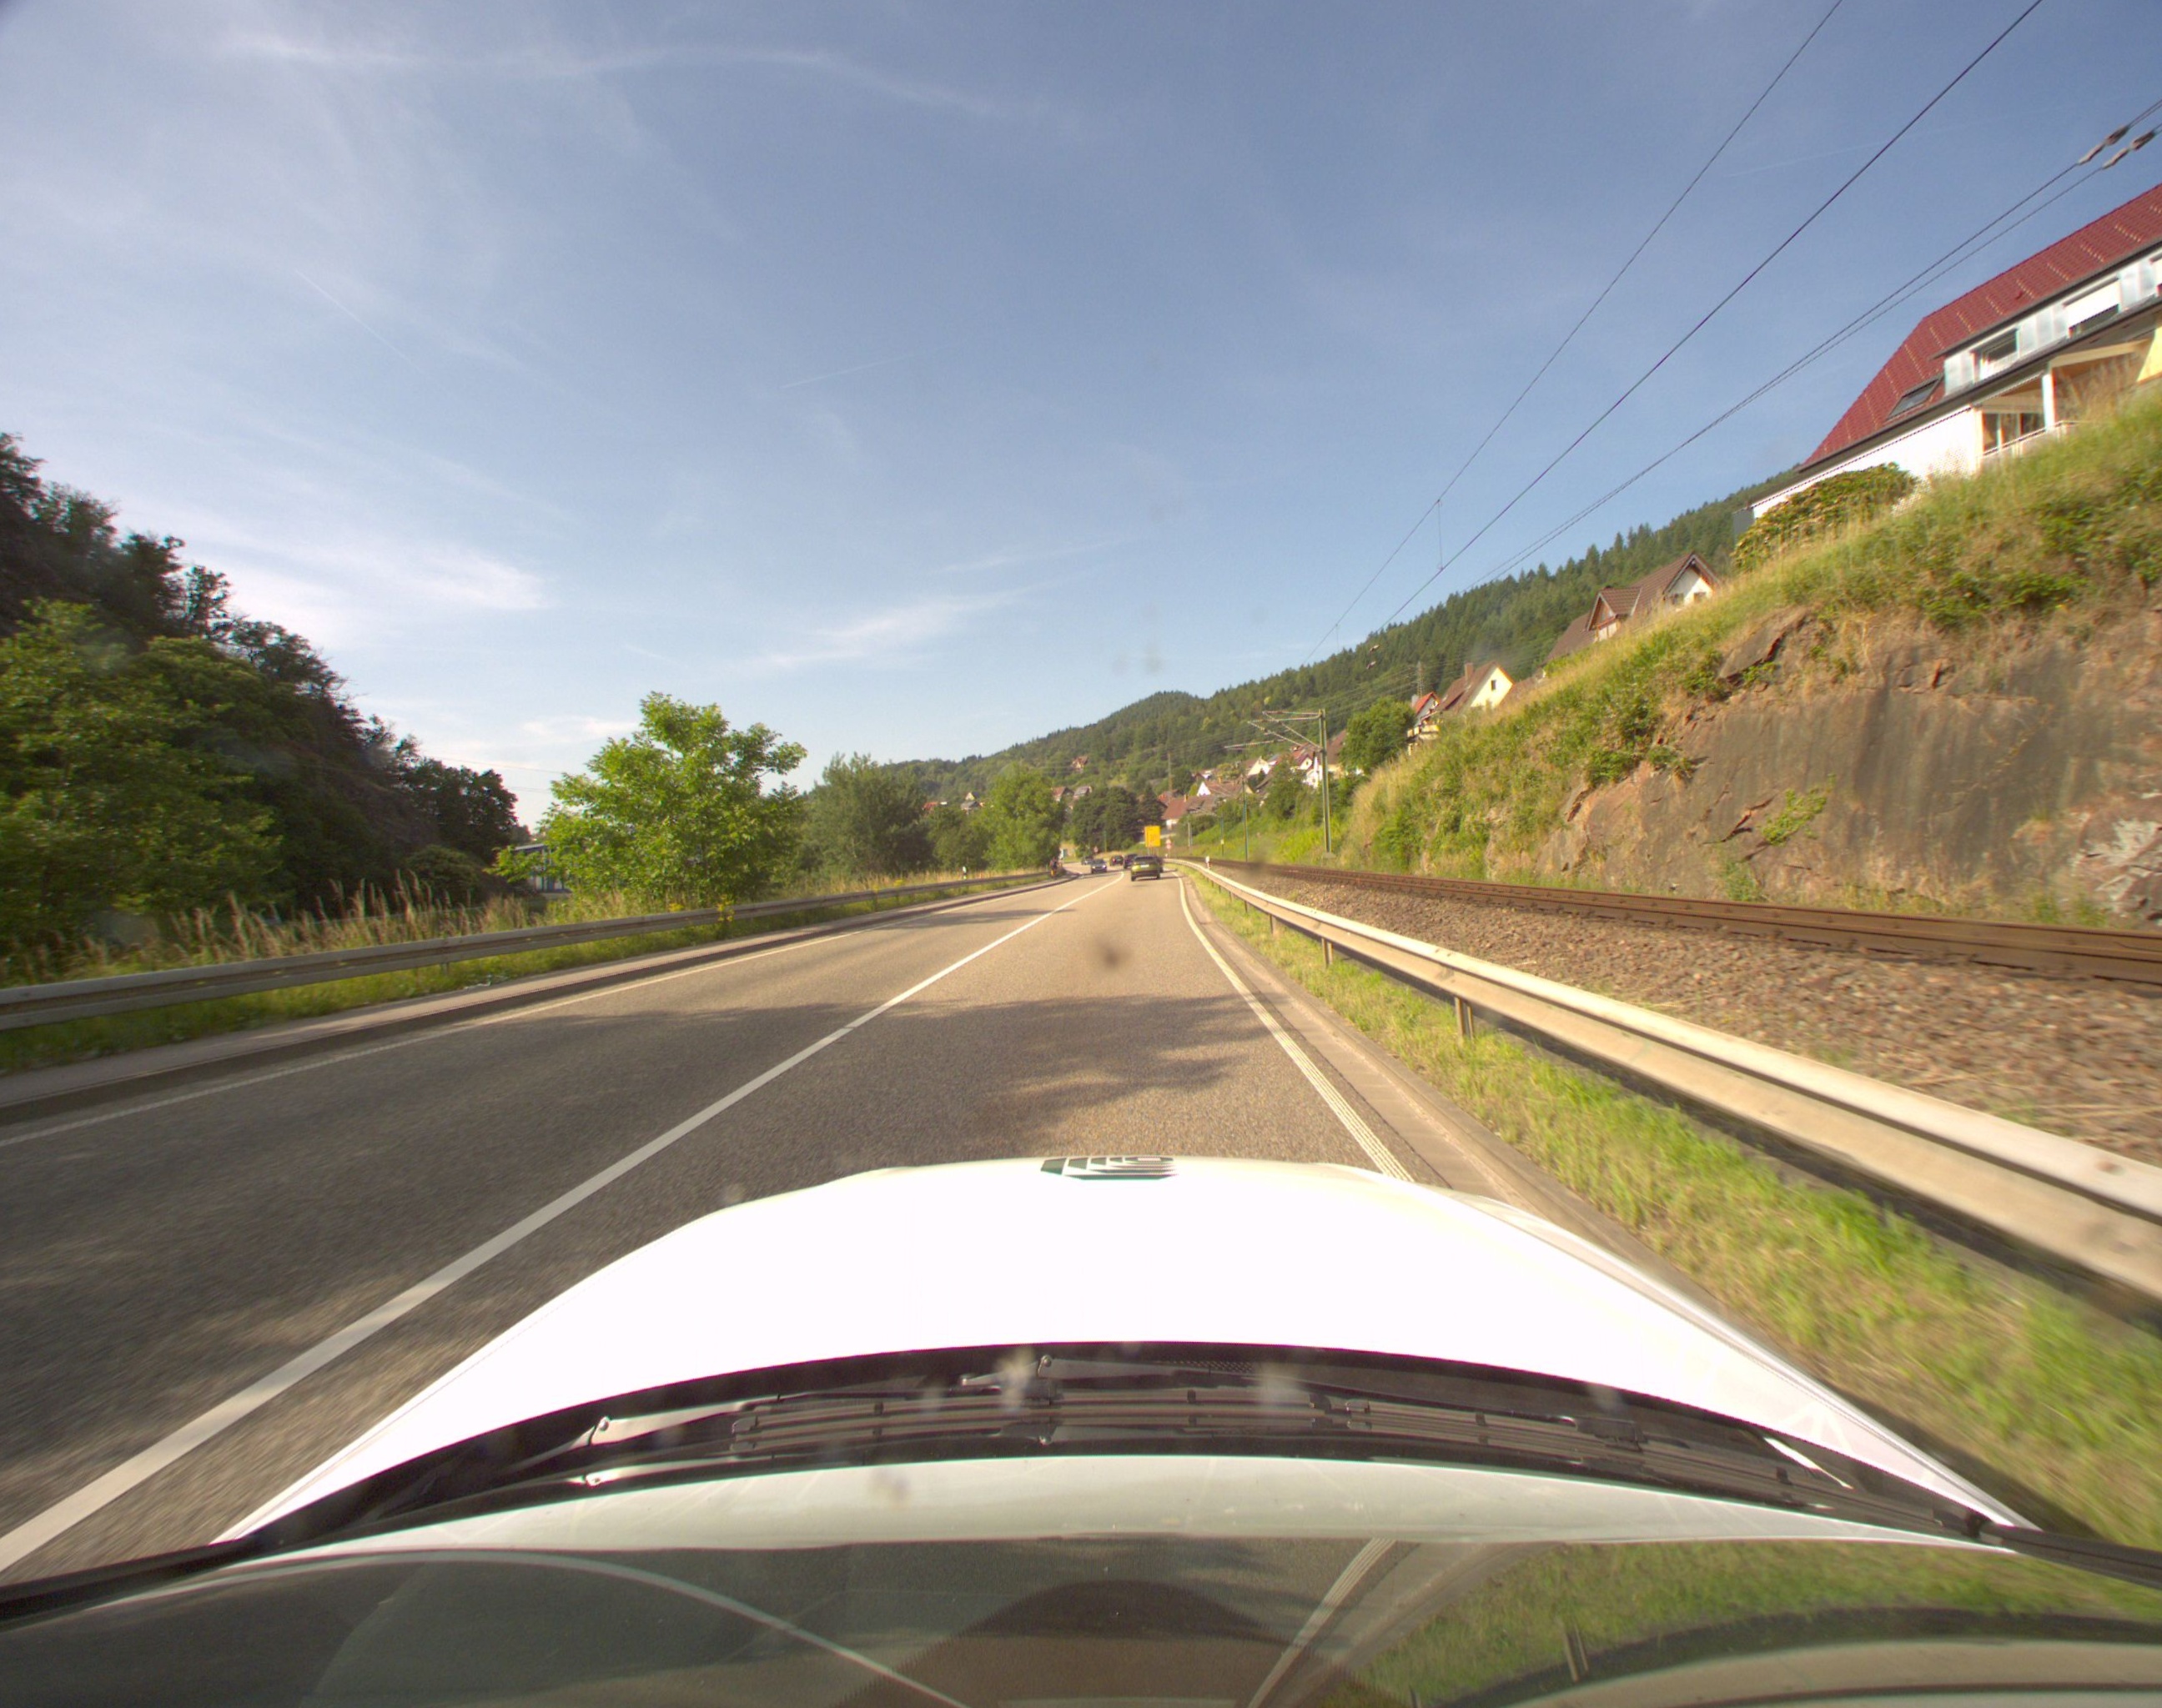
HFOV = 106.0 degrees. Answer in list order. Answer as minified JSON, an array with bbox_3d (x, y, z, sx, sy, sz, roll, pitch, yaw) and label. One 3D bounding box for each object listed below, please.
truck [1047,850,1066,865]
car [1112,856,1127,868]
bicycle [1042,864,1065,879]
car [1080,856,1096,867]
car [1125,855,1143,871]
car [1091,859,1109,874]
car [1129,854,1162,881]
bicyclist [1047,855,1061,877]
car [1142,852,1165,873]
[{"bbox_3d":[-5.402,0.762,179.500,2.718,3.084,6.075,-1,0,-16],"label":"truck"},{"bbox_3d":[5.412,1.130,114.370,1.844,1.527,3.659,-2,0,-2],"label":"car"},{"bbox_3d":[-2.034,1.316,60.891,0.552,1.045,2.243,-1,1,31],"label":"bicycle"},{"bbox_3d":[1.298,1.362,147.393,2.064,1.811,3.985,-2,0,-11],"label":"car"},{"bbox_3d":[5.974,0.999,92.362,1.872,1.686,4.002,-1,0,2],"label":"car"},{"bbox_3d":[2.019,1.282,86.398,1.570,1.479,4.006,-1,0,5],"label":"car"},{"bbox_3d":[3.835,0.789,49.115,1.708,1.455,4.002,-4,0,2],"label":"car"},{"bbox_3d":[-2.041,0.917,60.867,0.552,1.586,1.042,-1,0,31],"label":"bicyclist"},{"bbox_3d":[5.616,0.665,63.312,1.660,1.559,4.003,-1,0,3],"label":"car"}]
